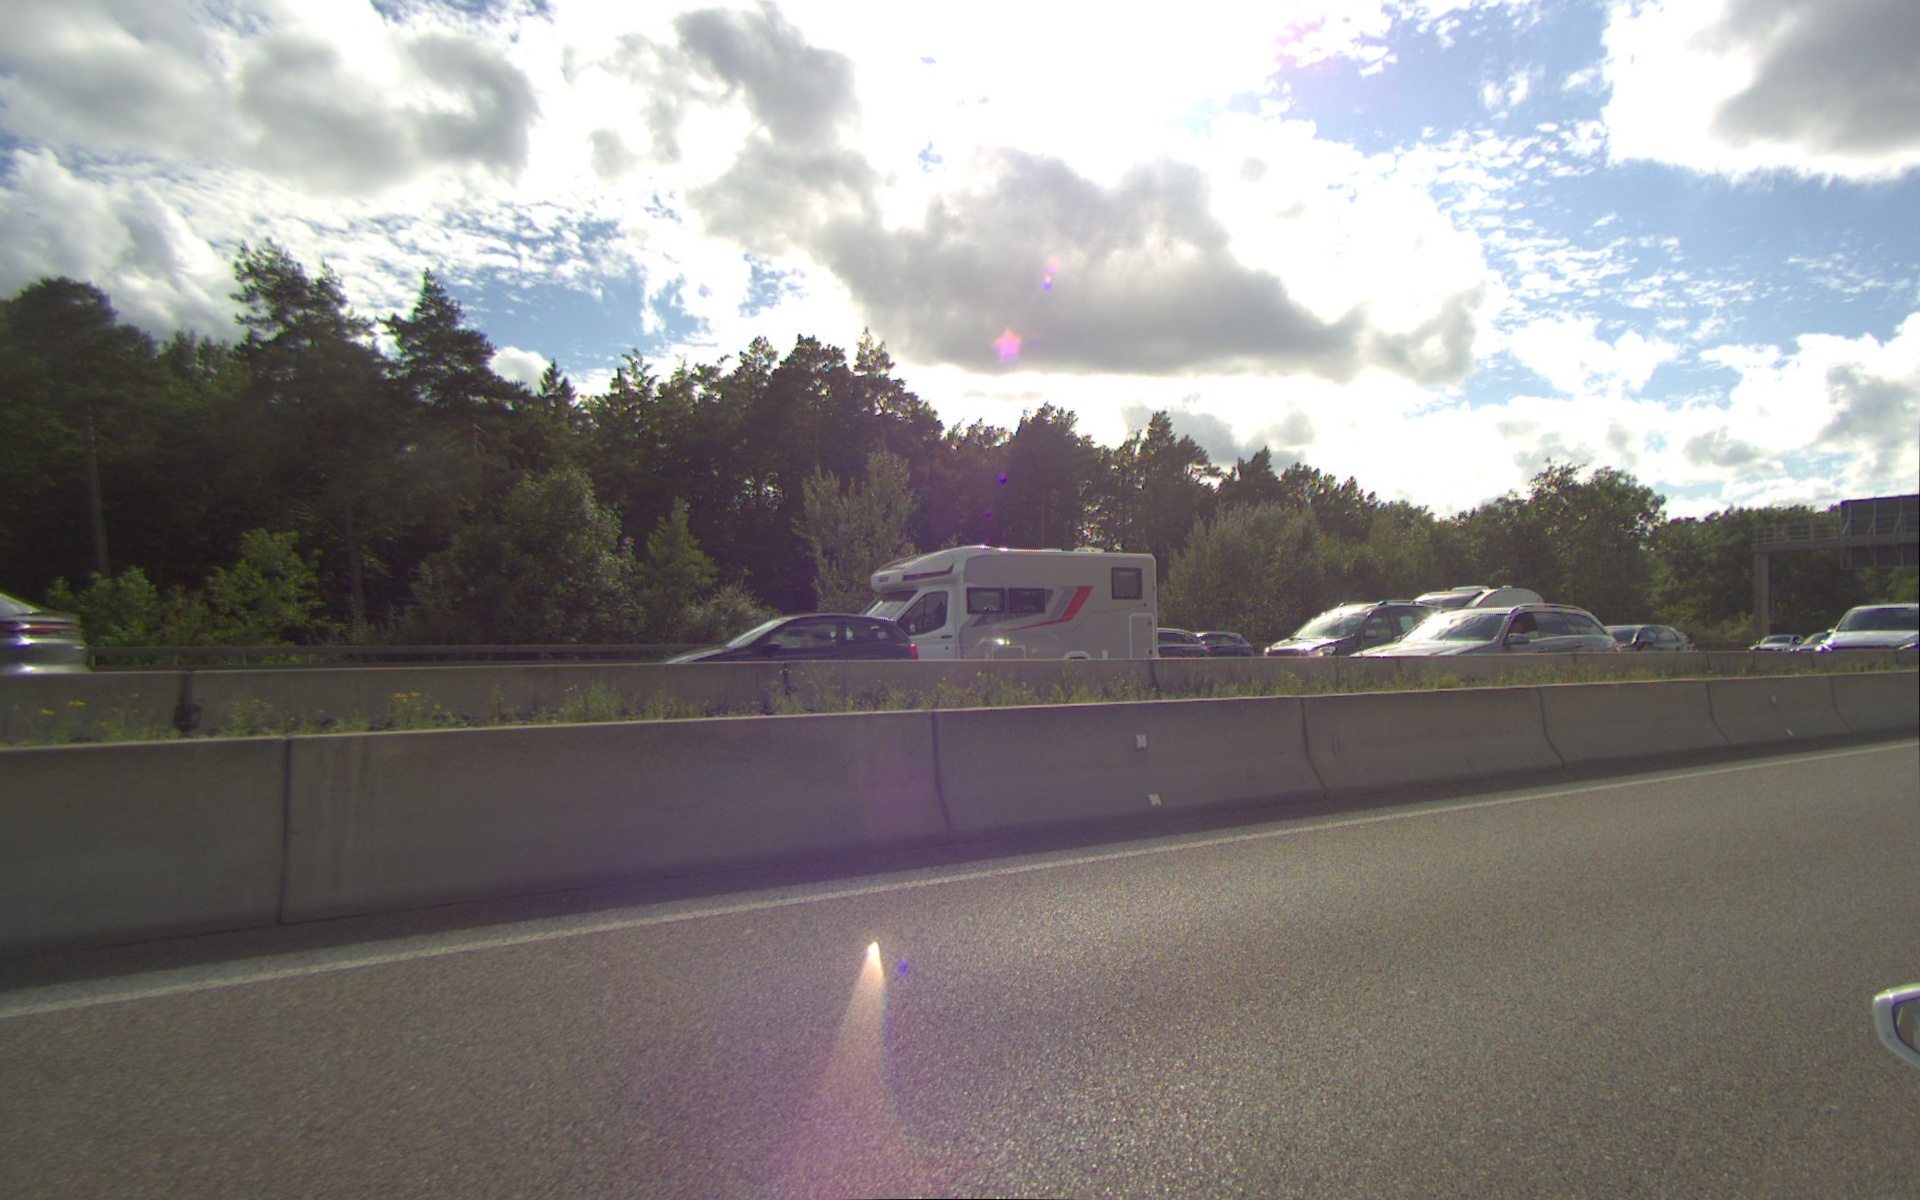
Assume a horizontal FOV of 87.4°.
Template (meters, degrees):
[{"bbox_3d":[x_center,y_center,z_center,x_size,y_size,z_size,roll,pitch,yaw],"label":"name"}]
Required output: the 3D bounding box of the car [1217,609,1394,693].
[{"bbox_3d":[8.818,1.252,25.546,4.431,1.941,1.823,1,0,-31],"label":"car"}]

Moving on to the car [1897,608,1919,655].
[{"bbox_3d":[36.883,1.203,37.194,4.728,1.677,1.997,1,0,-31],"label":"car"}]

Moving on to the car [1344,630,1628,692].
[{"bbox_3d":[7.702,0.839,14.592,4.397,0.734,1.639,1,0,-31],"label":"car"}]

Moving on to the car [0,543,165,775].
[{"bbox_3d":[-7.907,0.315,5.892,4.847,1.406,1.823,1,-1,-31],"label":"car"}]

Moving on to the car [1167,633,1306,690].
[{"bbox_3d":[8.995,1.938,32.581,4.431,1.677,1.823,1,0,-31],"label":"car"}]

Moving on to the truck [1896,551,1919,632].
[{"bbox_3d":[50.099,-0.333,50.060,6.724,3.952,3.399,1,-1,-31],"label":"truck"}]

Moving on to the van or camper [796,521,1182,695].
[{"bbox_3d":[0.726,0.289,19.871,7.395,2.927,2.458,3,-1,-30],"label":"van or camper"}]

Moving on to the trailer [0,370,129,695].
[{"bbox_3d":[-15.453,-0.868,10.422,10.102,3.707,2.873,1,0,-31],"label":"trailer"}]

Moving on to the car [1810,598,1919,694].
[{"bbox_3d":[22.543,1.072,23.974,5.438,2.089,1.823,1,-2,-31],"label":"car"}]

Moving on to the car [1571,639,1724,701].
[{"bbox_3d":[16.202,1.599,23.659,3.549,1.274,1.654,1,0,-31],"label":"car"}]

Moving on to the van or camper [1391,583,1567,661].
[{"bbox_3d":[14.633,0.605,28.288,4.633,2.038,2.272,1,0,-30],"label":"van or camper"}]

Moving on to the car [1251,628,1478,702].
[{"bbox_3d":[8.012,1.222,19.802,4.514,1.247,1.823,1,0,-31],"label":"car"}]

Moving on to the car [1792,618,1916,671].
[{"bbox_3d":[28.859,1.392,32.414,4.194,1.558,1.822,1,0,-31],"label":"car"}]

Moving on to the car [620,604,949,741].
[{"bbox_3d":[-2.436,0.945,14.247,4.223,1.682,1.823,1,-1,-31],"label":"car"}]
